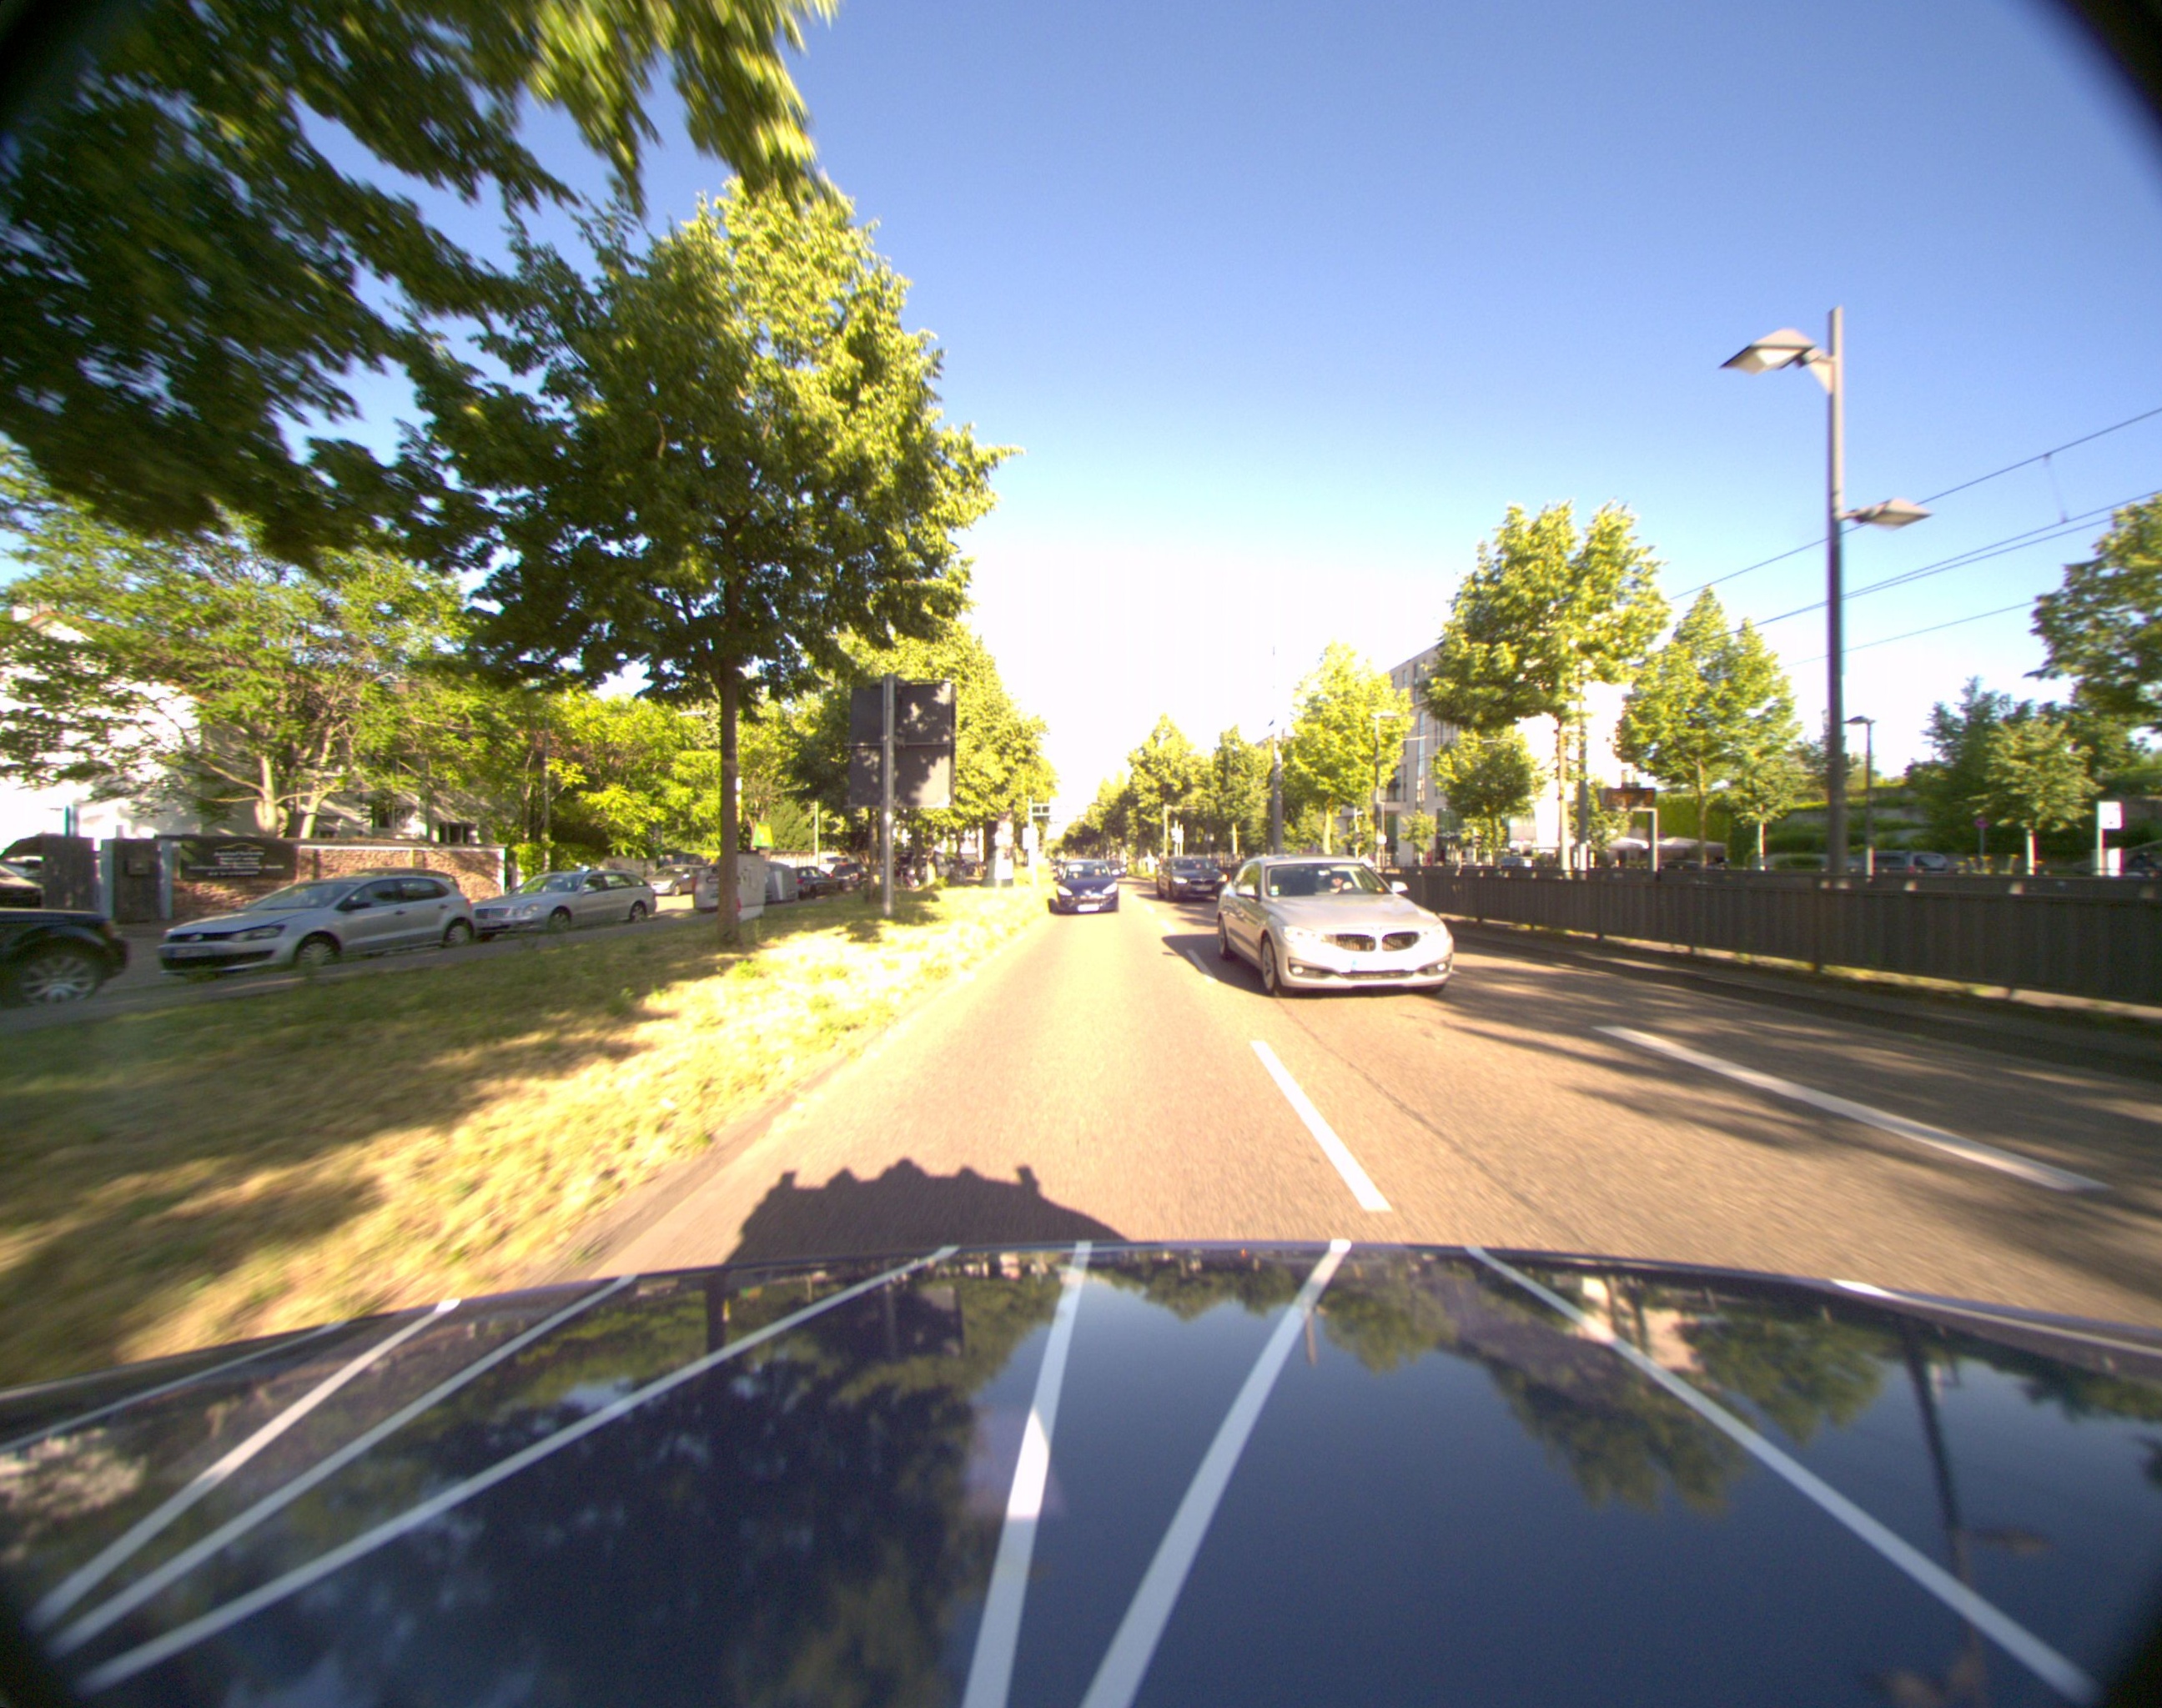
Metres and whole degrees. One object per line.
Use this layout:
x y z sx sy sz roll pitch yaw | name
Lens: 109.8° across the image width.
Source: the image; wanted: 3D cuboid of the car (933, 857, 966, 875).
-10.436 0.929 60.495 1.999 1.282 4.052 -2 1 -1 | car

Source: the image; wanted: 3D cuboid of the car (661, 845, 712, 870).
-33.610 0.302 64.899 1.998 2.002 4.000 -2 1 3 | car

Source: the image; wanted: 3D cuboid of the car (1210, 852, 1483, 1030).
2.831 0.808 9.206 1.886 1.569 4.278 -2 1 2 | car

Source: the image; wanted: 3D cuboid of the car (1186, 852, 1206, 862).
17.014 0.436 112.379 1.999 1.477 3.998 -2 1 -4 | car

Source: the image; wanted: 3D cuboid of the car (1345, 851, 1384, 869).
29.921 0.650 80.436 1.999 1.761 4.774 -2 1 -5 | car

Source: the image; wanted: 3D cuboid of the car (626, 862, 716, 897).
-20.206 1.218 37.645 1.998 1.474 4.324 1 1 2 | car

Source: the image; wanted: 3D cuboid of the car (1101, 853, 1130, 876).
2.535 0.734 56.302 1.783 1.571 3.782 -2 1 -2 | car

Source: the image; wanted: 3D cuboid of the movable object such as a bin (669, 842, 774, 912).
-10.964 0.661 23.351 2.086 2.002 2.136 -2 1 2 | movable object such as a bin

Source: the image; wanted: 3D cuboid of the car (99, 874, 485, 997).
-11.770 1.108 11.836 1.876 1.381 3.998 -2 1 -2 | car

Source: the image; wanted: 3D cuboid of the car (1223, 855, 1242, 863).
27.339 0.890 137.416 1.999 1.433 4.923 -2 1 -5 | car

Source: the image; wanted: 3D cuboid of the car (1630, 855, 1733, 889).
32.444 0.938 41.242 1.884 1.611 4.609 -2 1 -1 | car

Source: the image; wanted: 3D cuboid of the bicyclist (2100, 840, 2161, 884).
35.424 0.254 25.377 0.490 1.397 1.660 -2 1 -3 | bicyclist

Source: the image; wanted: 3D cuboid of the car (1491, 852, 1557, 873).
31.082 0.574 53.507 1.884 1.426 4.610 0 0 -1 | car

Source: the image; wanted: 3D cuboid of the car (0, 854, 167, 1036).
-11.838 0.963 6.540 1.875 1.810 4.892 -2 1 1 | car

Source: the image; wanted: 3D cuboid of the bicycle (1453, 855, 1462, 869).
37.455 0.792 75.586 0.588 1.245 1.842 -2 1 19 | bicycle

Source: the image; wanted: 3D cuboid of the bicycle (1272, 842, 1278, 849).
34.577 -1.553 135.360 0.599 1.273 1.607 -2 1 -5 | bicycle

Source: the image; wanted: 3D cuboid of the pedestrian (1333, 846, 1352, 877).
15.603 0.432 45.403 0.823 1.825 0.726 -2 1 -5 | pedestrian

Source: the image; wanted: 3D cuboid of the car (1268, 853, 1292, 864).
28.749 0.668 109.907 1.999 1.433 4.453 -2 1 -5 | car

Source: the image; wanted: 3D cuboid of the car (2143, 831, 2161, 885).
32.749 0.106 20.406 1.999 1.599 4.609 -2 1 -1 | car

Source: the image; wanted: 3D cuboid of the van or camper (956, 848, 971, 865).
-18.756 0.370 121.207 2.000 2.715 4.961 2 0 -5 | van or camper

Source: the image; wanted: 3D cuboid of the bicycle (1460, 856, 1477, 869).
37.521 0.793 73.536 0.589 1.245 1.839 -2 1 -3 | bicycle

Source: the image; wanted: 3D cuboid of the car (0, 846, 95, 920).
-27.835 0.663 18.874 3.998 1.734 1.903 1 1 -4 | car

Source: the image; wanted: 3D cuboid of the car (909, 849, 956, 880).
-10.507 0.698 54.176 2.195 2.002 5.818 -2 1 -1 | car

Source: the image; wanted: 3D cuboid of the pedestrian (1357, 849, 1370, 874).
17.207 0.440 46.250 0.544 1.488 0.603 -2 1 1 | pedestrian

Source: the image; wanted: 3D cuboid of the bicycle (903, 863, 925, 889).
-7.225 0.921 32.942 0.494 1.040 1.903 -2 1 -1 | bicycle

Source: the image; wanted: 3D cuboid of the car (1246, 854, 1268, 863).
28.003 0.703 121.025 1.999 1.433 4.776 -2 1 -5 | car

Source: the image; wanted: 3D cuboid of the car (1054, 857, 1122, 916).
0.147 0.894 22.379 1.767 1.462 3.999 -2 1 -1 | car

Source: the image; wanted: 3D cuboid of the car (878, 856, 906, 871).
-18.809 0.932 75.727 1.694 1.463 3.758 2 1 3 | car

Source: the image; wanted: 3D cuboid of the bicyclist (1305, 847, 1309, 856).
33.885 -0.363 113.798 0.368 1.296 0.719 -2 1 -1 | bicyclist

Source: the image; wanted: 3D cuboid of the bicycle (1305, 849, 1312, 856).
33.909 -0.222 113.288 0.380 1.011 1.800 -2 1 -1 | bicycle

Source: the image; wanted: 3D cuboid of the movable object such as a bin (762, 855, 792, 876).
-22.752 0.866 56.868 1.648 1.461 1.485 1 1 -3 | movable object such as a bin

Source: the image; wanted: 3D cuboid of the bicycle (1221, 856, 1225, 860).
32.919 0.866 176.430 0.619 0.983 1.848 -2 1 3 | bicycle

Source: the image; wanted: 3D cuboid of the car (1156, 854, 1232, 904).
3.766 0.802 25.971 1.951 1.514 3.999 -1 1 0 | car

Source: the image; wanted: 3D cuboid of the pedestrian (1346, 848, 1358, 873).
16.734 0.418 46.932 0.551 1.509 0.588 -2 1 3 | pedestrian

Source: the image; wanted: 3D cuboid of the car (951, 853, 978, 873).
-10.377 0.750 67.674 1.741 1.632 4.351 -2 1 -1 | car

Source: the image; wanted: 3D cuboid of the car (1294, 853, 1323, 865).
29.451 0.684 98.523 1.999 1.433 4.453 -2 1 -5 | car

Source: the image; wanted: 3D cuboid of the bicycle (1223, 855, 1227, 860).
32.977 0.820 173.827 0.581 0.947 1.848 -2 1 -1 | bicycle

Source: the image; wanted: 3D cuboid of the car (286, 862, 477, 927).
-20.551 1.114 22.591 1.999 1.630 3.999 2 1 -1 | car

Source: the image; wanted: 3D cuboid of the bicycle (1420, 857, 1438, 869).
37.216 0.981 81.287 0.735 1.191 2.240 -2 1 -3 | bicycle

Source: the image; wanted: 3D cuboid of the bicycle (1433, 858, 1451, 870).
37.298 1.007 78.560 0.735 1.191 2.240 -2 1 -3 | bicycle

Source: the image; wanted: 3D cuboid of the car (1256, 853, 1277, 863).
28.299 0.640 115.998 1.999 1.433 4.454 -2 1 -3 | car

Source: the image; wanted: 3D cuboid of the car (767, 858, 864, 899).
-10.622 0.941 30.855 2.004 1.376 4.745 -2 1 3 | car

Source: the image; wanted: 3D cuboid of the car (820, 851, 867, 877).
-19.433 0.764 62.300 2.092 2.002 4.943 -1 0 2 | car

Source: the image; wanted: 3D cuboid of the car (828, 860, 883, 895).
-10.766 1.078 36.432 1.666 1.492 2.989 -2 1 0 | car

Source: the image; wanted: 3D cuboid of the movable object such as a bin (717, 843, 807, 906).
-10.903 0.678 26.119 2.086 2.002 2.136 -2 1 2 | movable object such as a bin

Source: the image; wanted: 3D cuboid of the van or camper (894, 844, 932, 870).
-18.731 0.339 85.145 2.562 2.668 6.566 2 0 2 | van or camper

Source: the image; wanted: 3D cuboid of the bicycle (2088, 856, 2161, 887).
35.432 0.577 25.431 0.498 0.995 2.188 -2 1 -3 | bicycle

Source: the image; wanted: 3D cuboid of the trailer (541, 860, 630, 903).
-21.124 1.125 32.510 1.734 1.631 3.023 1 1 2 | trailer

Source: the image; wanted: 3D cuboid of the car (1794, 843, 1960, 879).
32.328 0.235 31.091 1.918 1.317 4.609 -2 1 -1 | car

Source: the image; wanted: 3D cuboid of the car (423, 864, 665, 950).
-11.909 1.077 17.425 1.876 1.515 5.055 -2 1 0 | car
